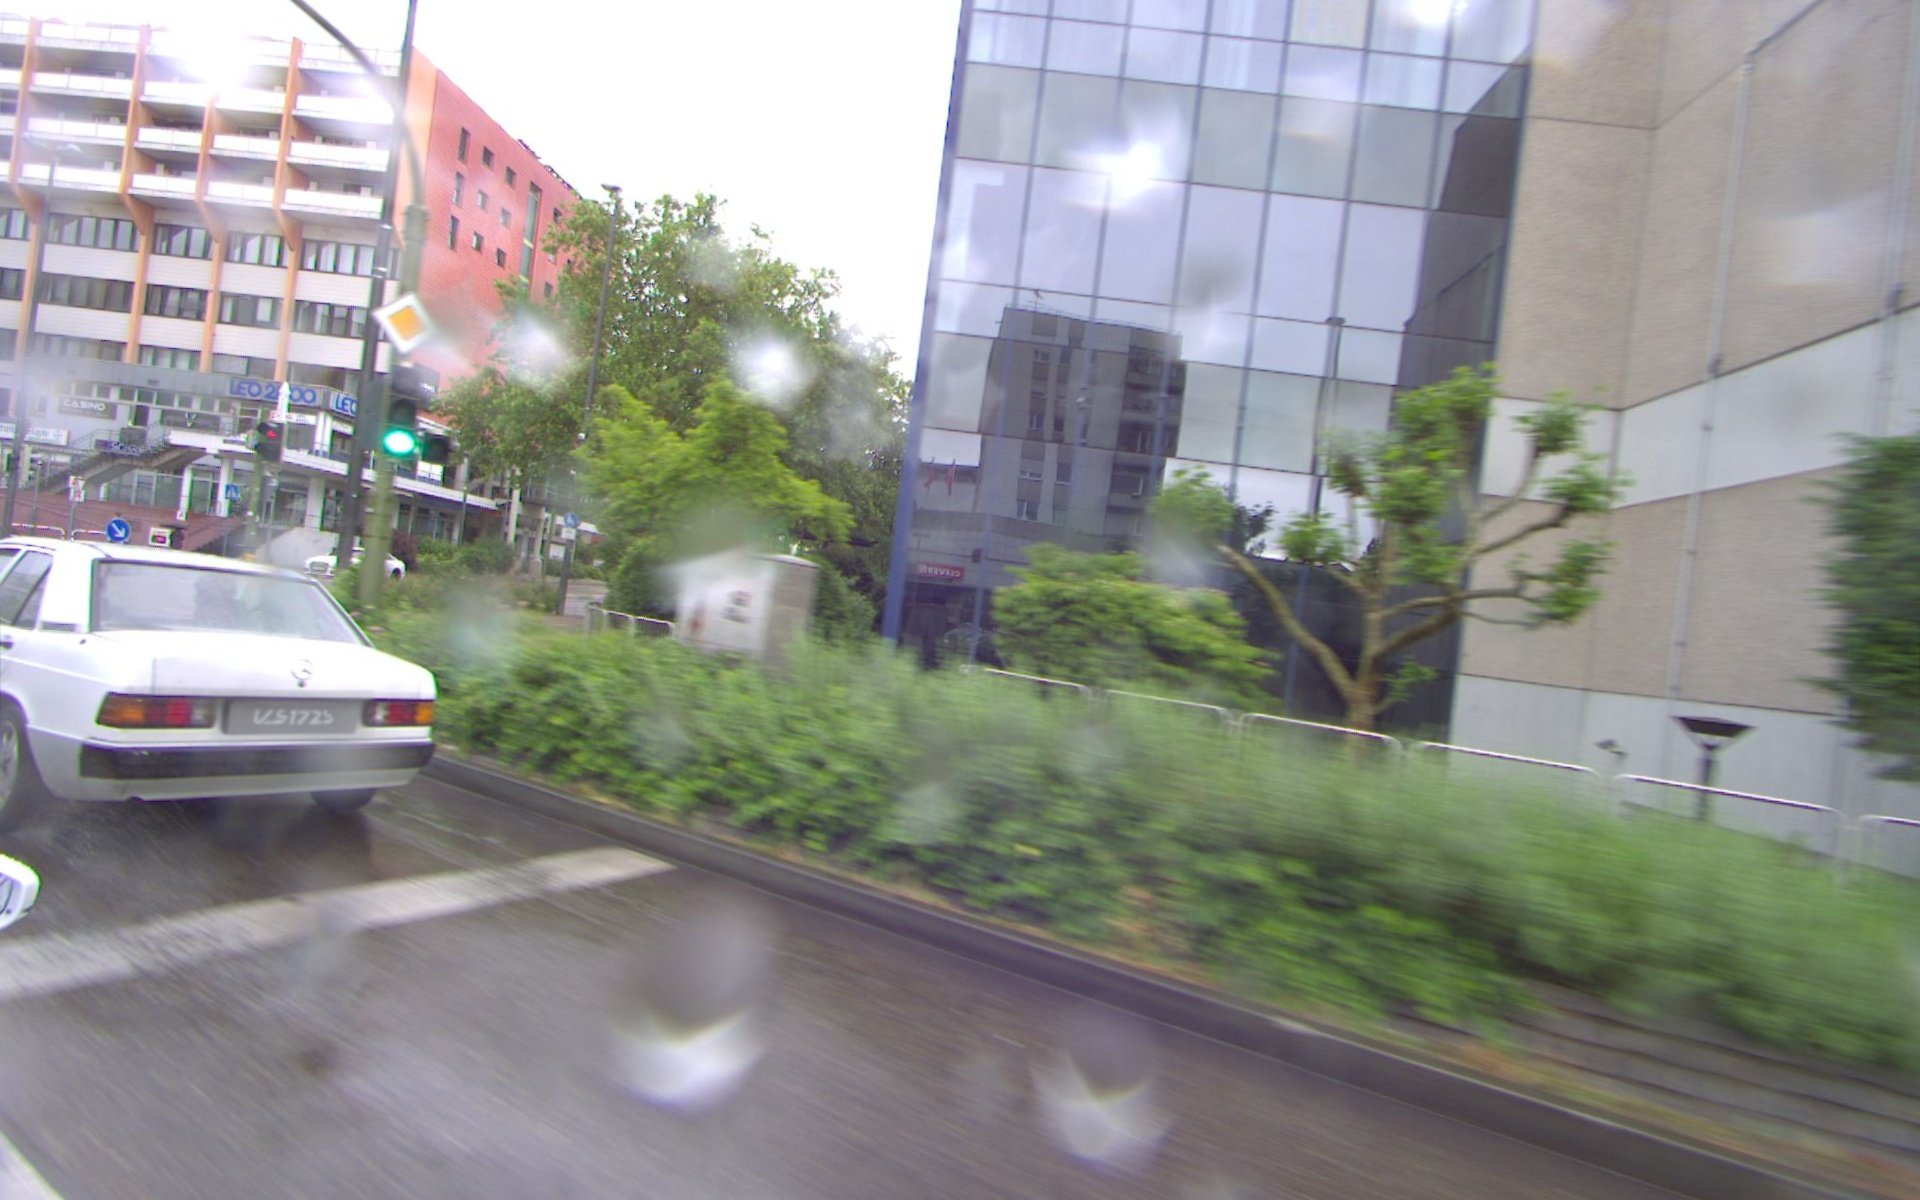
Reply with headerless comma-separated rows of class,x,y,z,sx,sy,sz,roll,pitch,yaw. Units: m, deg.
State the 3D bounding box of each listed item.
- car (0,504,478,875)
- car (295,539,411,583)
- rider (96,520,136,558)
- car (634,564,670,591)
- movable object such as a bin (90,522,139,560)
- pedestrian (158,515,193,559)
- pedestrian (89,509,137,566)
car,-4.885,0.307,5.873,4.199,1.464,1.637,5,-3,32
car,-26.147,-1.648,43.581,1.778,1.423,4.792,5,-1,4
rider,-32.670,-2.358,38.957,1.074,1.302,0.921,7,3,36
car,-27.339,-1.995,89.328,1.963,2.038,3.999,6,-1,-3
movable object such as a bin,-32.804,-2.274,39.022,1.433,1.349,1.129,3,0,36
pedestrian,-32.345,-2.587,41.473,0.917,1.689,0.793,6,0,39
pedestrian,-27.874,-2.046,33.105,1.111,1.711,0.829,6,0,34
